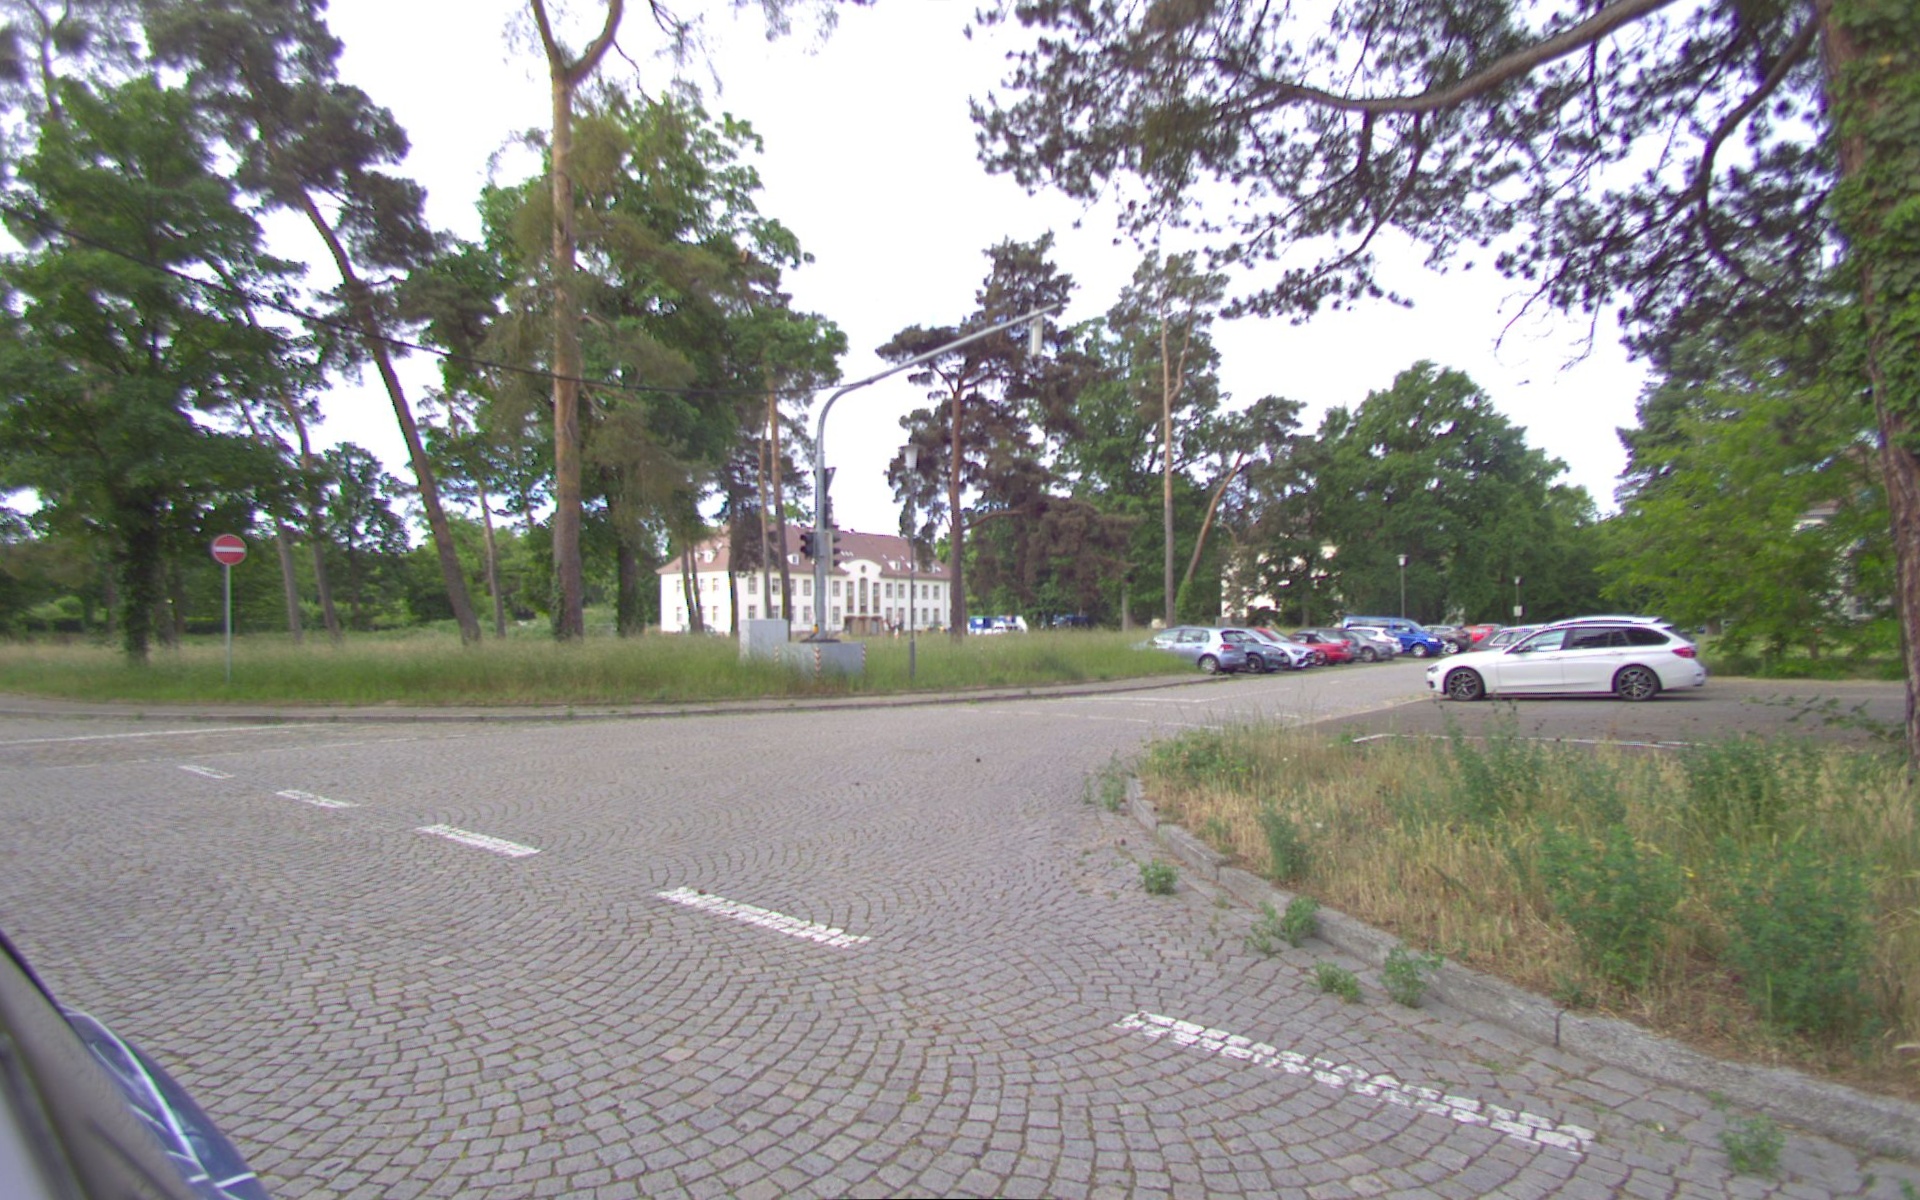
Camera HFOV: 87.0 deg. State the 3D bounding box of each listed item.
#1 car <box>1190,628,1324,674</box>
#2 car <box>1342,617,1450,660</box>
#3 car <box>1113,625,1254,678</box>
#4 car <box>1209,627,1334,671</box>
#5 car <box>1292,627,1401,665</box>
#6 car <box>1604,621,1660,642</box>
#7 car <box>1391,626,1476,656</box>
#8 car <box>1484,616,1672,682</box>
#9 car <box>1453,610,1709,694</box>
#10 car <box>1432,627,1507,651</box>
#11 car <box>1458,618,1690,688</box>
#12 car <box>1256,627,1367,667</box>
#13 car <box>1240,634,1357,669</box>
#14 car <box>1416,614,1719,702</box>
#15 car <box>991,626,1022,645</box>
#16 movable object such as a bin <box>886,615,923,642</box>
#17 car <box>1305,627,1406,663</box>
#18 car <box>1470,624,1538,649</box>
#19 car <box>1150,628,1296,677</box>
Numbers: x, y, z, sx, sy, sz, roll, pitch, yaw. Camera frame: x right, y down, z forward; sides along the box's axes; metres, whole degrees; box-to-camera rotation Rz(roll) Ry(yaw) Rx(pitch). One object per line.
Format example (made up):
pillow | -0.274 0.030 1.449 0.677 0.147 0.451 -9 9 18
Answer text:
car | 10.475 1.774 35.863 4.249 1.485 1.694 -1 -2 41
car | 21.639 1.890 50.314 4.603 2.021 1.886 -1 -1 41
car | 7.000 1.573 31.858 4.008 1.439 1.676 1 0 38
car | 11.666 1.801 38.046 4.183 1.493 1.694 -1 -2 40
car | 16.673 1.940 43.742 4.099 1.528 1.677 -1 -2 42
car | 74.721 3.483 112.618 5.141 2.165 1.753 0 -2 36
car | 26.838 2.289 57.400 4.085 1.605 1.631 -1 -2 42
car | 15.798 1.275 25.956 3.954 1.481 1.565 -5 -4 36
car | 13.024 1.128 21.452 4.364 1.610 1.852 -4 -3 33
car | 32.967 2.516 65.536 4.084 1.455 1.703 -1 -2 41
car | 14.329 1.276 23.747 4.441 1.435 1.701 -5 -4 37
car | 14.512 1.898 41.905 4.052 1.528 1.578 -1 -2 42
car | 13.197 1.992 39.576 4.050 1.250 1.529 -1 -2 40
car | 11.529 1.154 19.419 4.745 1.499 1.844 -4 -4 37
car | 6.234 4.655 134.468 1.861 2.382 4.390 -3 -3 38
movable object such as a bin | -8.178 4.200 148.998 5.463 3.799 2.024 -3 -3 43
car | 18.072 2.012 46.320 4.052 1.528 1.578 -1 -2 42
car | 39.443 2.609 73.435 1.700 1.708 4.090 2 -2 -44
car | 8.726 1.696 33.795 4.436 1.394 1.643 1 0 38
